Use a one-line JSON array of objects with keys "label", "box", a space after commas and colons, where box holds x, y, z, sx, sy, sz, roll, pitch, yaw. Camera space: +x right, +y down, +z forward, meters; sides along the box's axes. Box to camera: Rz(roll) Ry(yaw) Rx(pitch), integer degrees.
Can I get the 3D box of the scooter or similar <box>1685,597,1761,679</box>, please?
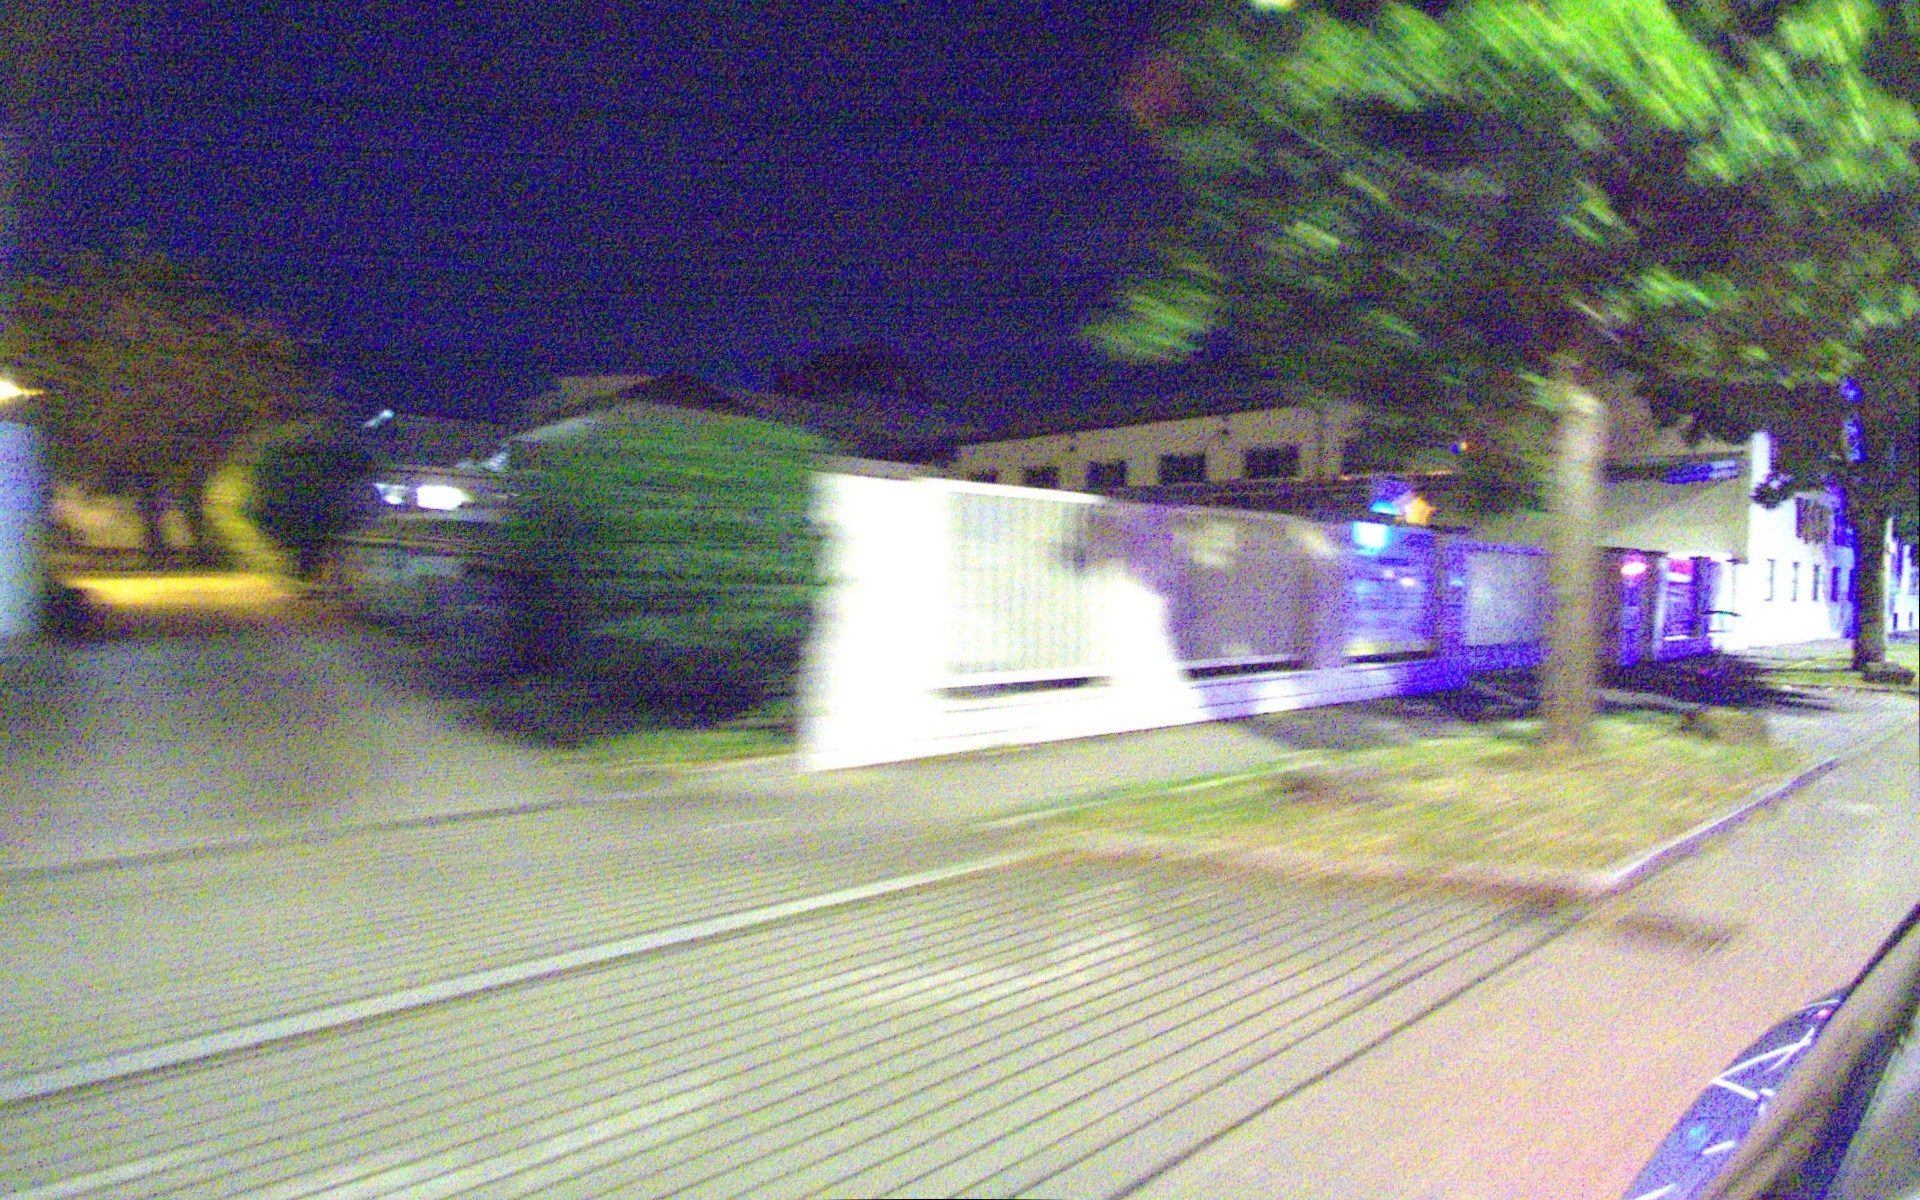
[{"label": "scooter or similar", "box": [12.547, 0.593, 16.622, 1.877, 1.217, 0.548, -1, 4, -41]}]
